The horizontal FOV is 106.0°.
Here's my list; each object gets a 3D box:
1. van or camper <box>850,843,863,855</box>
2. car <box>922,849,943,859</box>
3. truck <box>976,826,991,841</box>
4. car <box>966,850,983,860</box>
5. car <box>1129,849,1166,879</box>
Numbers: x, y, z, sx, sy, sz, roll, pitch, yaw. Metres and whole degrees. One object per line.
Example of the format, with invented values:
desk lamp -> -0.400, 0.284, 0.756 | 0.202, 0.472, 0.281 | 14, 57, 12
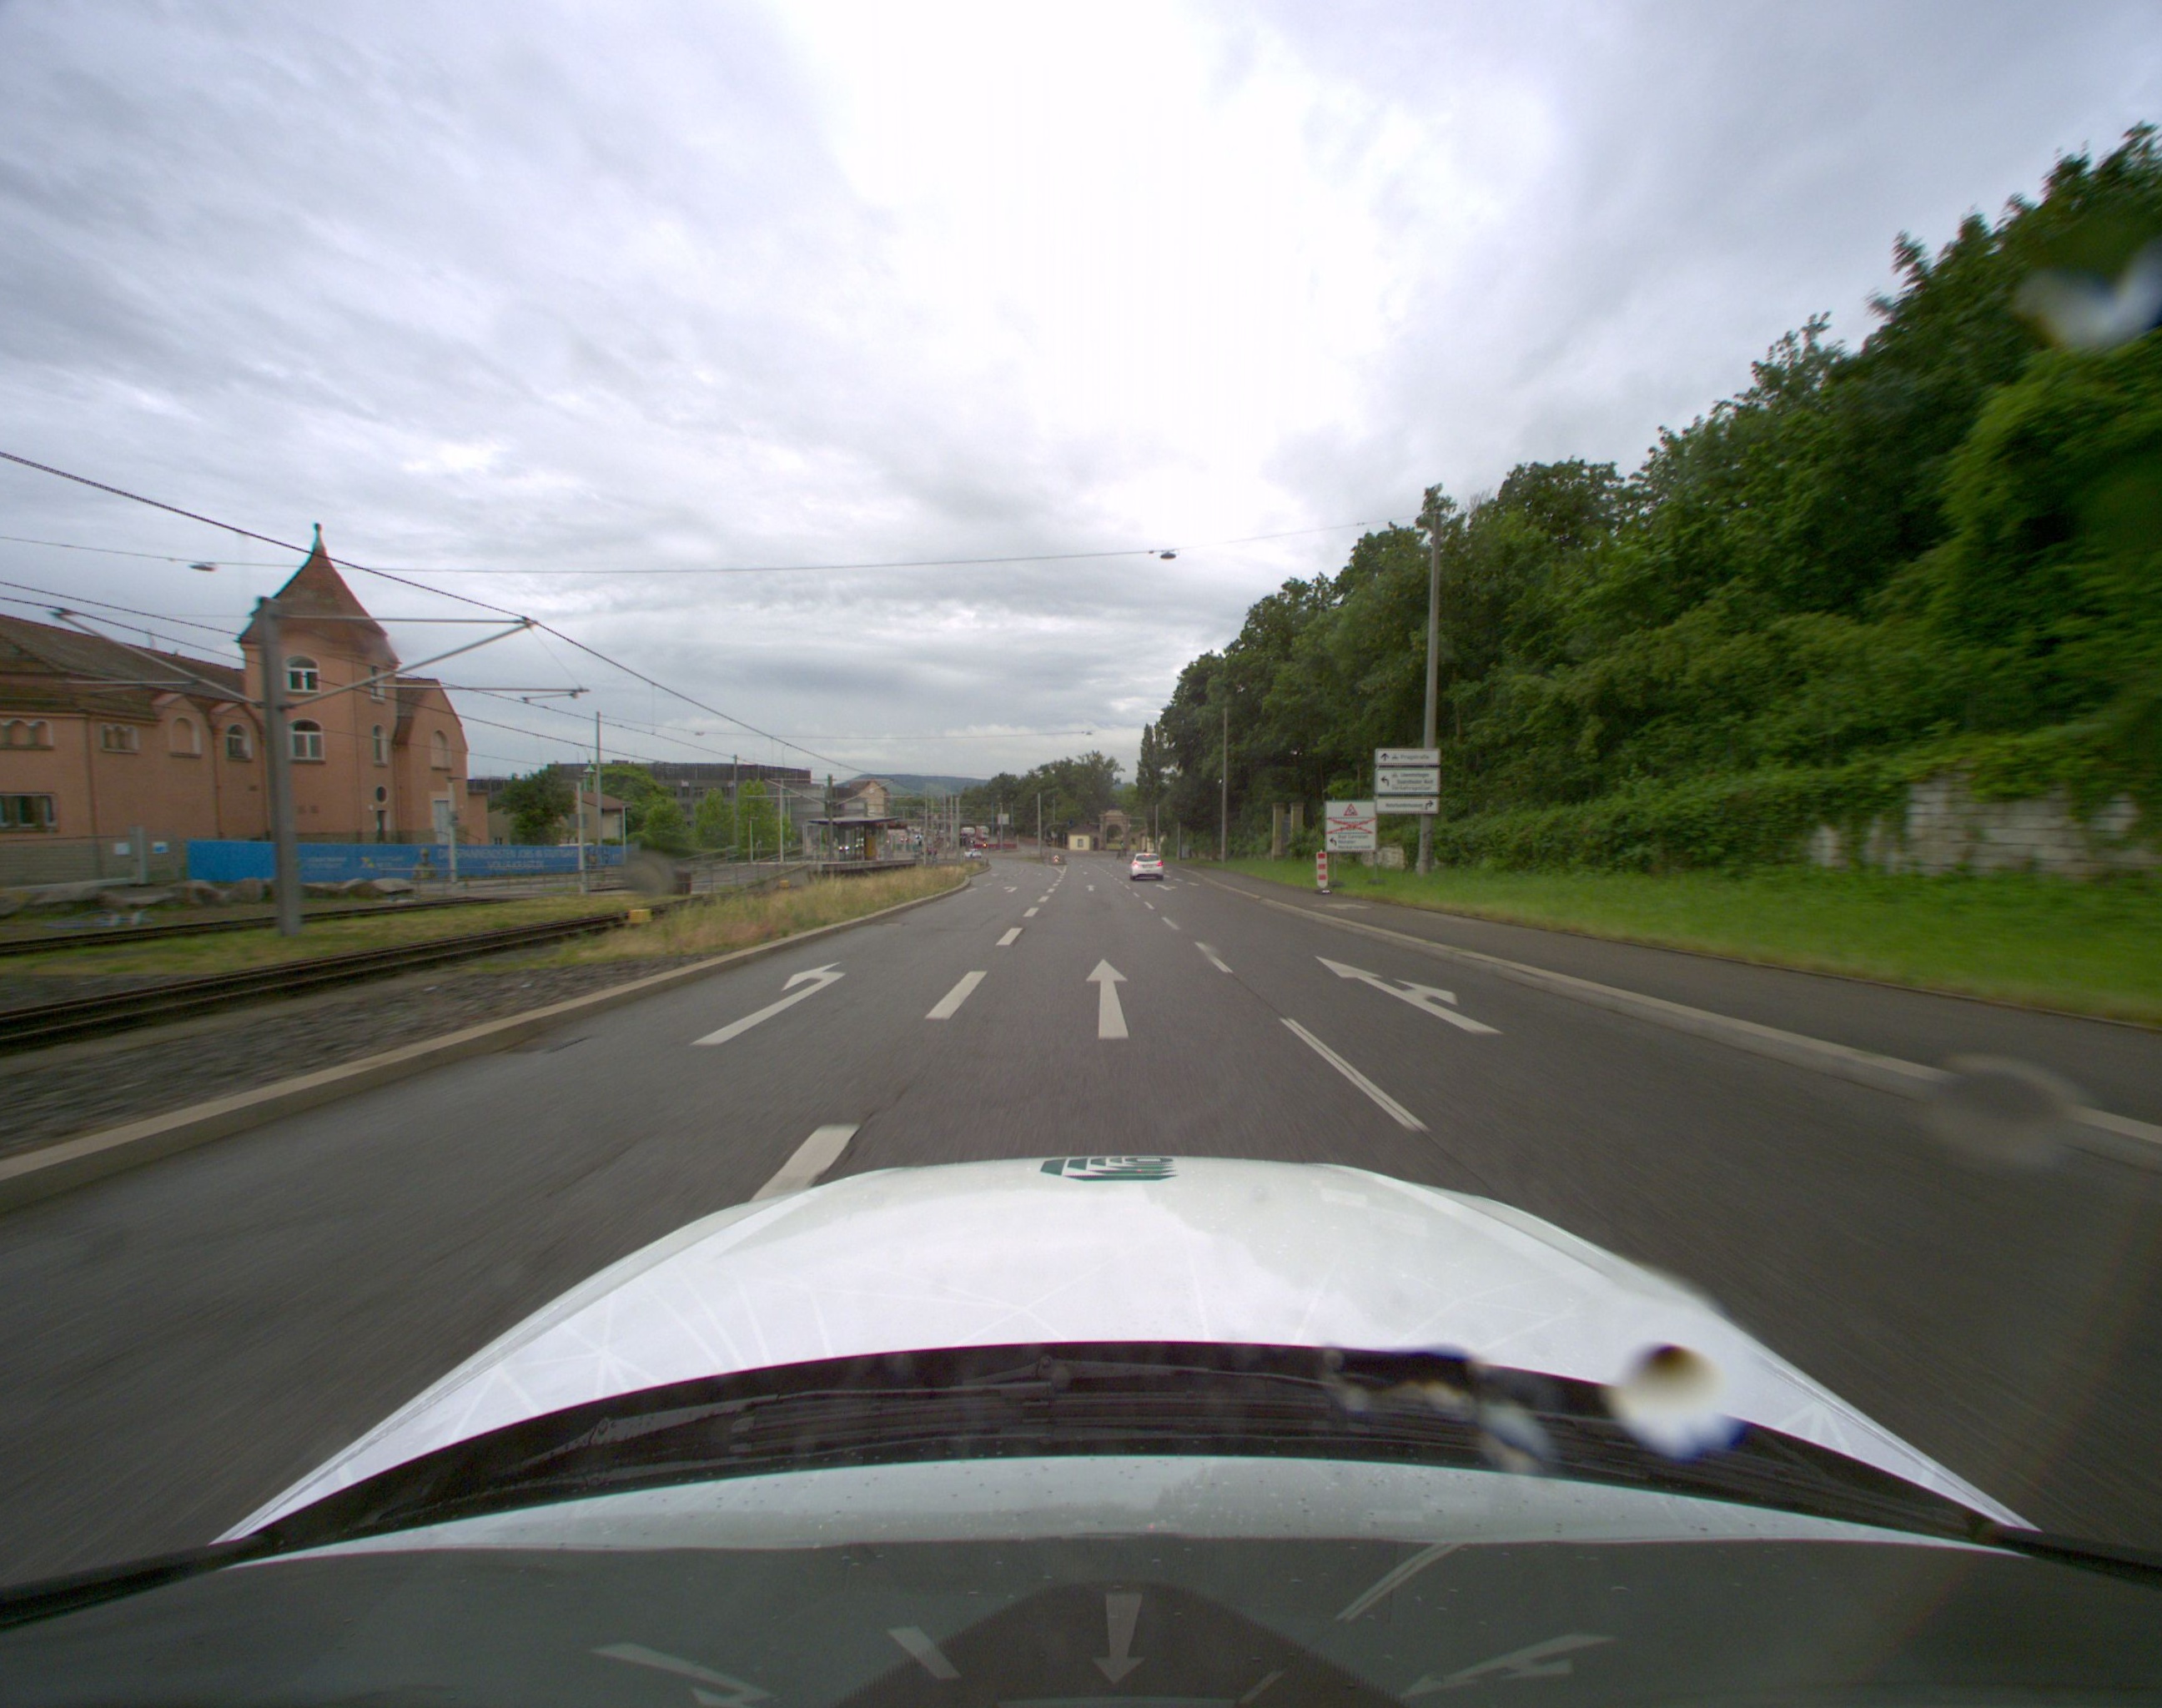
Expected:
van or camper -> -47.856, -1.044, 173.605 | 1.992, 2.344, 3.989 | -2, 0, -8
car -> -26.356, -0.074, 144.475 | 2.010, 1.706, 3.954 | -1, 1, -39
truck -> -30.962, -6.461, 258.412 | 3.418, 4.570, 11.237 | 3, 0, -13
car -> -17.631, 0.151, 134.266 | 1.830, 1.606, 3.970 | -1, 1, -23
car -> 3.617, 0.531, 44.761 | 1.861, 1.511, 3.902 | -2, 0, 2
